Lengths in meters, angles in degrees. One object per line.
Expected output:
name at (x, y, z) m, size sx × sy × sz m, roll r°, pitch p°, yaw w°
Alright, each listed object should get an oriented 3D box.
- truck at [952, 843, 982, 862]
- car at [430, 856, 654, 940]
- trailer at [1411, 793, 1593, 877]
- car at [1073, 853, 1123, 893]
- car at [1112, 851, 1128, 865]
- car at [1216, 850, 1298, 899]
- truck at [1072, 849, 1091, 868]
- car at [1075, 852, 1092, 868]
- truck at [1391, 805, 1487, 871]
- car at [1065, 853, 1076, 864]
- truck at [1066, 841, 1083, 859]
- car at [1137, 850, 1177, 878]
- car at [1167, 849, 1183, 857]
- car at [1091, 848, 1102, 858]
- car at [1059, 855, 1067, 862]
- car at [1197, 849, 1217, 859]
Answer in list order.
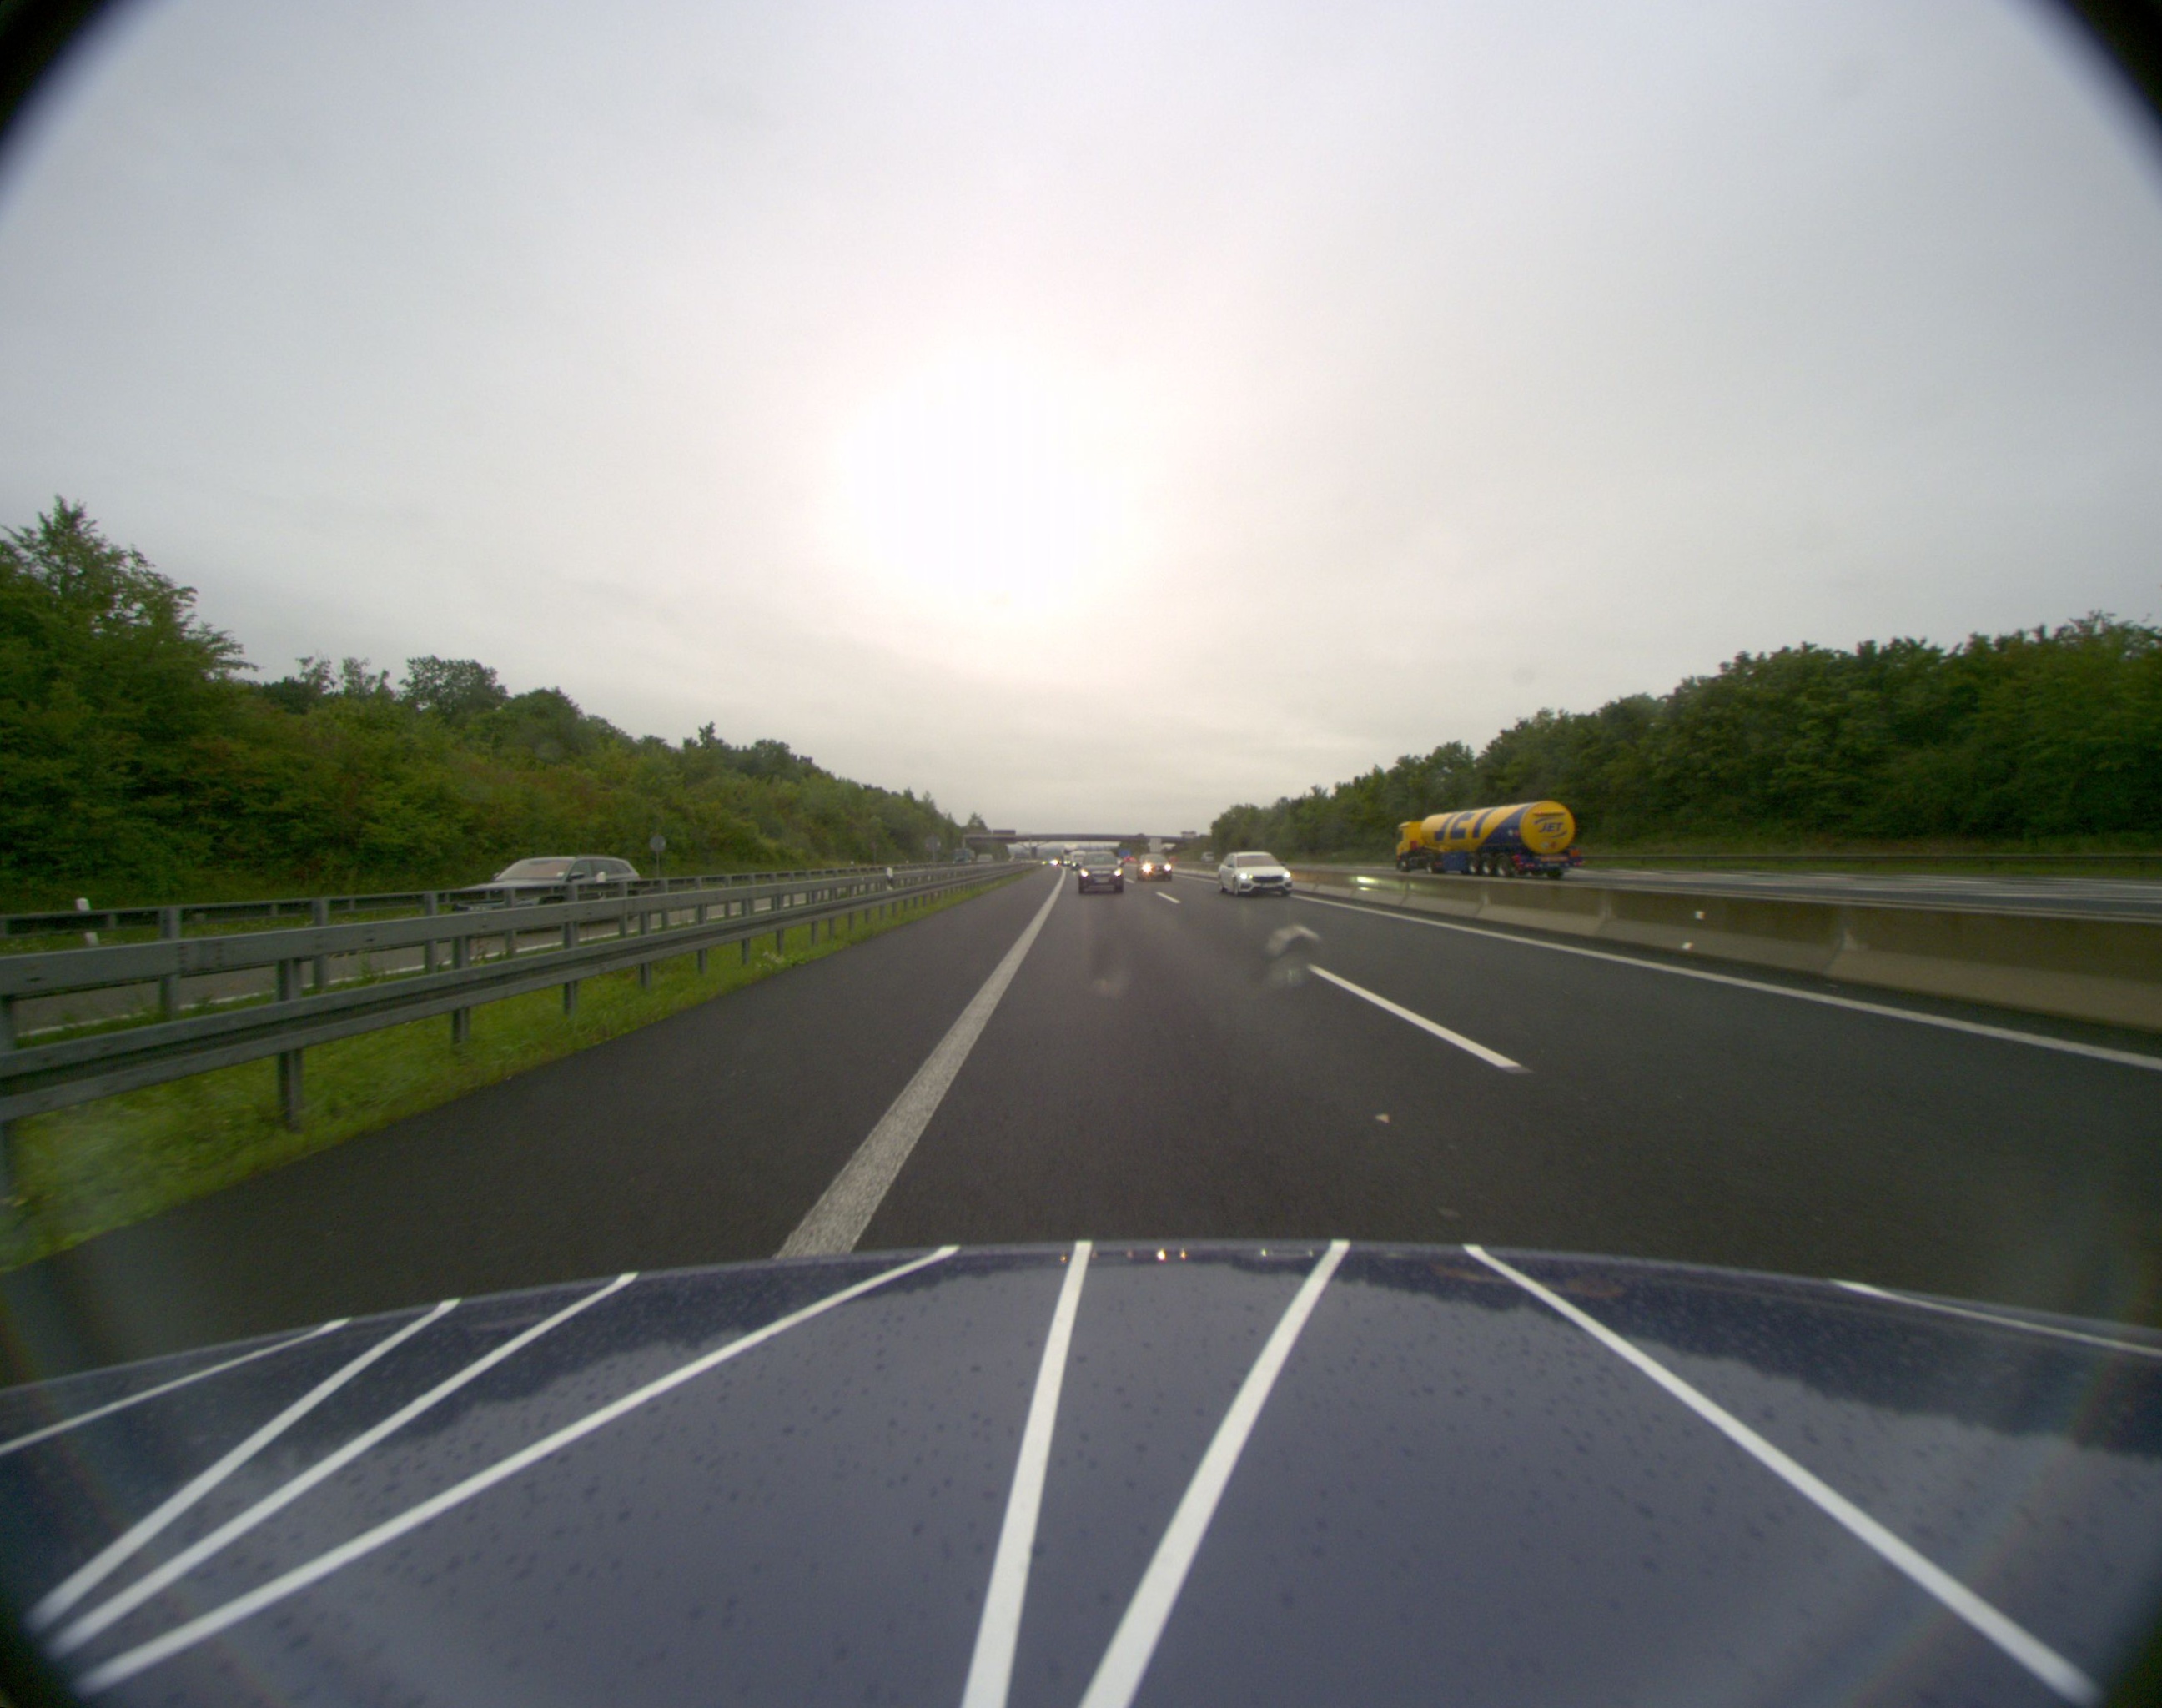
truck at (-20.974, -0.320, 141.089) m, size 2.908 × 3.397 × 13.355 m, roll -1°, pitch 0°, yaw 2°
car at (-12.265, 0.909, 17.764) m, size 2.013 × 1.645 × 4.472 m, roll -1°, pitch 0°, yaw 0°
trailer at (20.002, -0.831, 37.349) m, size 2.768 × 3.378 × 11.447 m, roll -2°, pitch 1°, yaw 1°
car at (0.704, 0.732, 31.358) m, size 1.905 × 1.497 × 4.114 m, roll -1°, pitch 0°, yaw 1°
car at (4.940, 0.495, 96.010) m, size 1.716 × 1.724 × 3.999 m, roll -1°, pitch 0°, yaw -1°
car at (5.952, 0.643, 26.134) m, size 1.905 × 1.497 × 4.114 m, roll -1°, pitch 0°, yaw 1°
truck at (0.043, 0.504, 91.567) m, size 2.175 × 2.214 × 5.642 m, roll -1°, pitch 0°, yaw 0°
car at (0.266, 0.659, 85.042) m, size 1.825 × 1.669 × 4.000 m, roll -1°, pitch 0°, yaw 1°
truck at (20.147, -0.883, 43.162) m, size 2.768 × 3.379 × 5.845 m, roll -2°, pitch 1°, yaw 1°
car at (-1.815, 0.694, 127.064) m, size 1.716 × 1.724 × 3.999 m, roll -1°, pitch 0°, yaw -1°
truck at (-1.236, -0.749, 144.661) m, size 3.154 × 3.332 × 13.098 m, roll -1°, pitch 0°, yaw -1°
car at (4.325, 0.560, 43.585) m, size 1.905 × 1.497 × 4.114 m, roll -1°, pitch 0°, yaw 1°
car at (20.695, -0.126, 168.161) m, size 2.187 × 1.686 × 4.624 m, roll -2°, pitch 0°, yaw -10°
car at (3.051, -0.215, 150.870) m, size 1.998 × 2.002 × 4.037 m, roll -1°, pitch 0°, yaw 1°
car at (-4.645, 1.188, 197.350) m, size 1.917 × 1.671 × 4.000 m, roll -1°, pitch 0°, yaw 1°
car at (21.916, 0.006, 132.340) m, size 2.187 × 1.686 × 4.564 m, roll -1°, pitch 0°, yaw -8°
